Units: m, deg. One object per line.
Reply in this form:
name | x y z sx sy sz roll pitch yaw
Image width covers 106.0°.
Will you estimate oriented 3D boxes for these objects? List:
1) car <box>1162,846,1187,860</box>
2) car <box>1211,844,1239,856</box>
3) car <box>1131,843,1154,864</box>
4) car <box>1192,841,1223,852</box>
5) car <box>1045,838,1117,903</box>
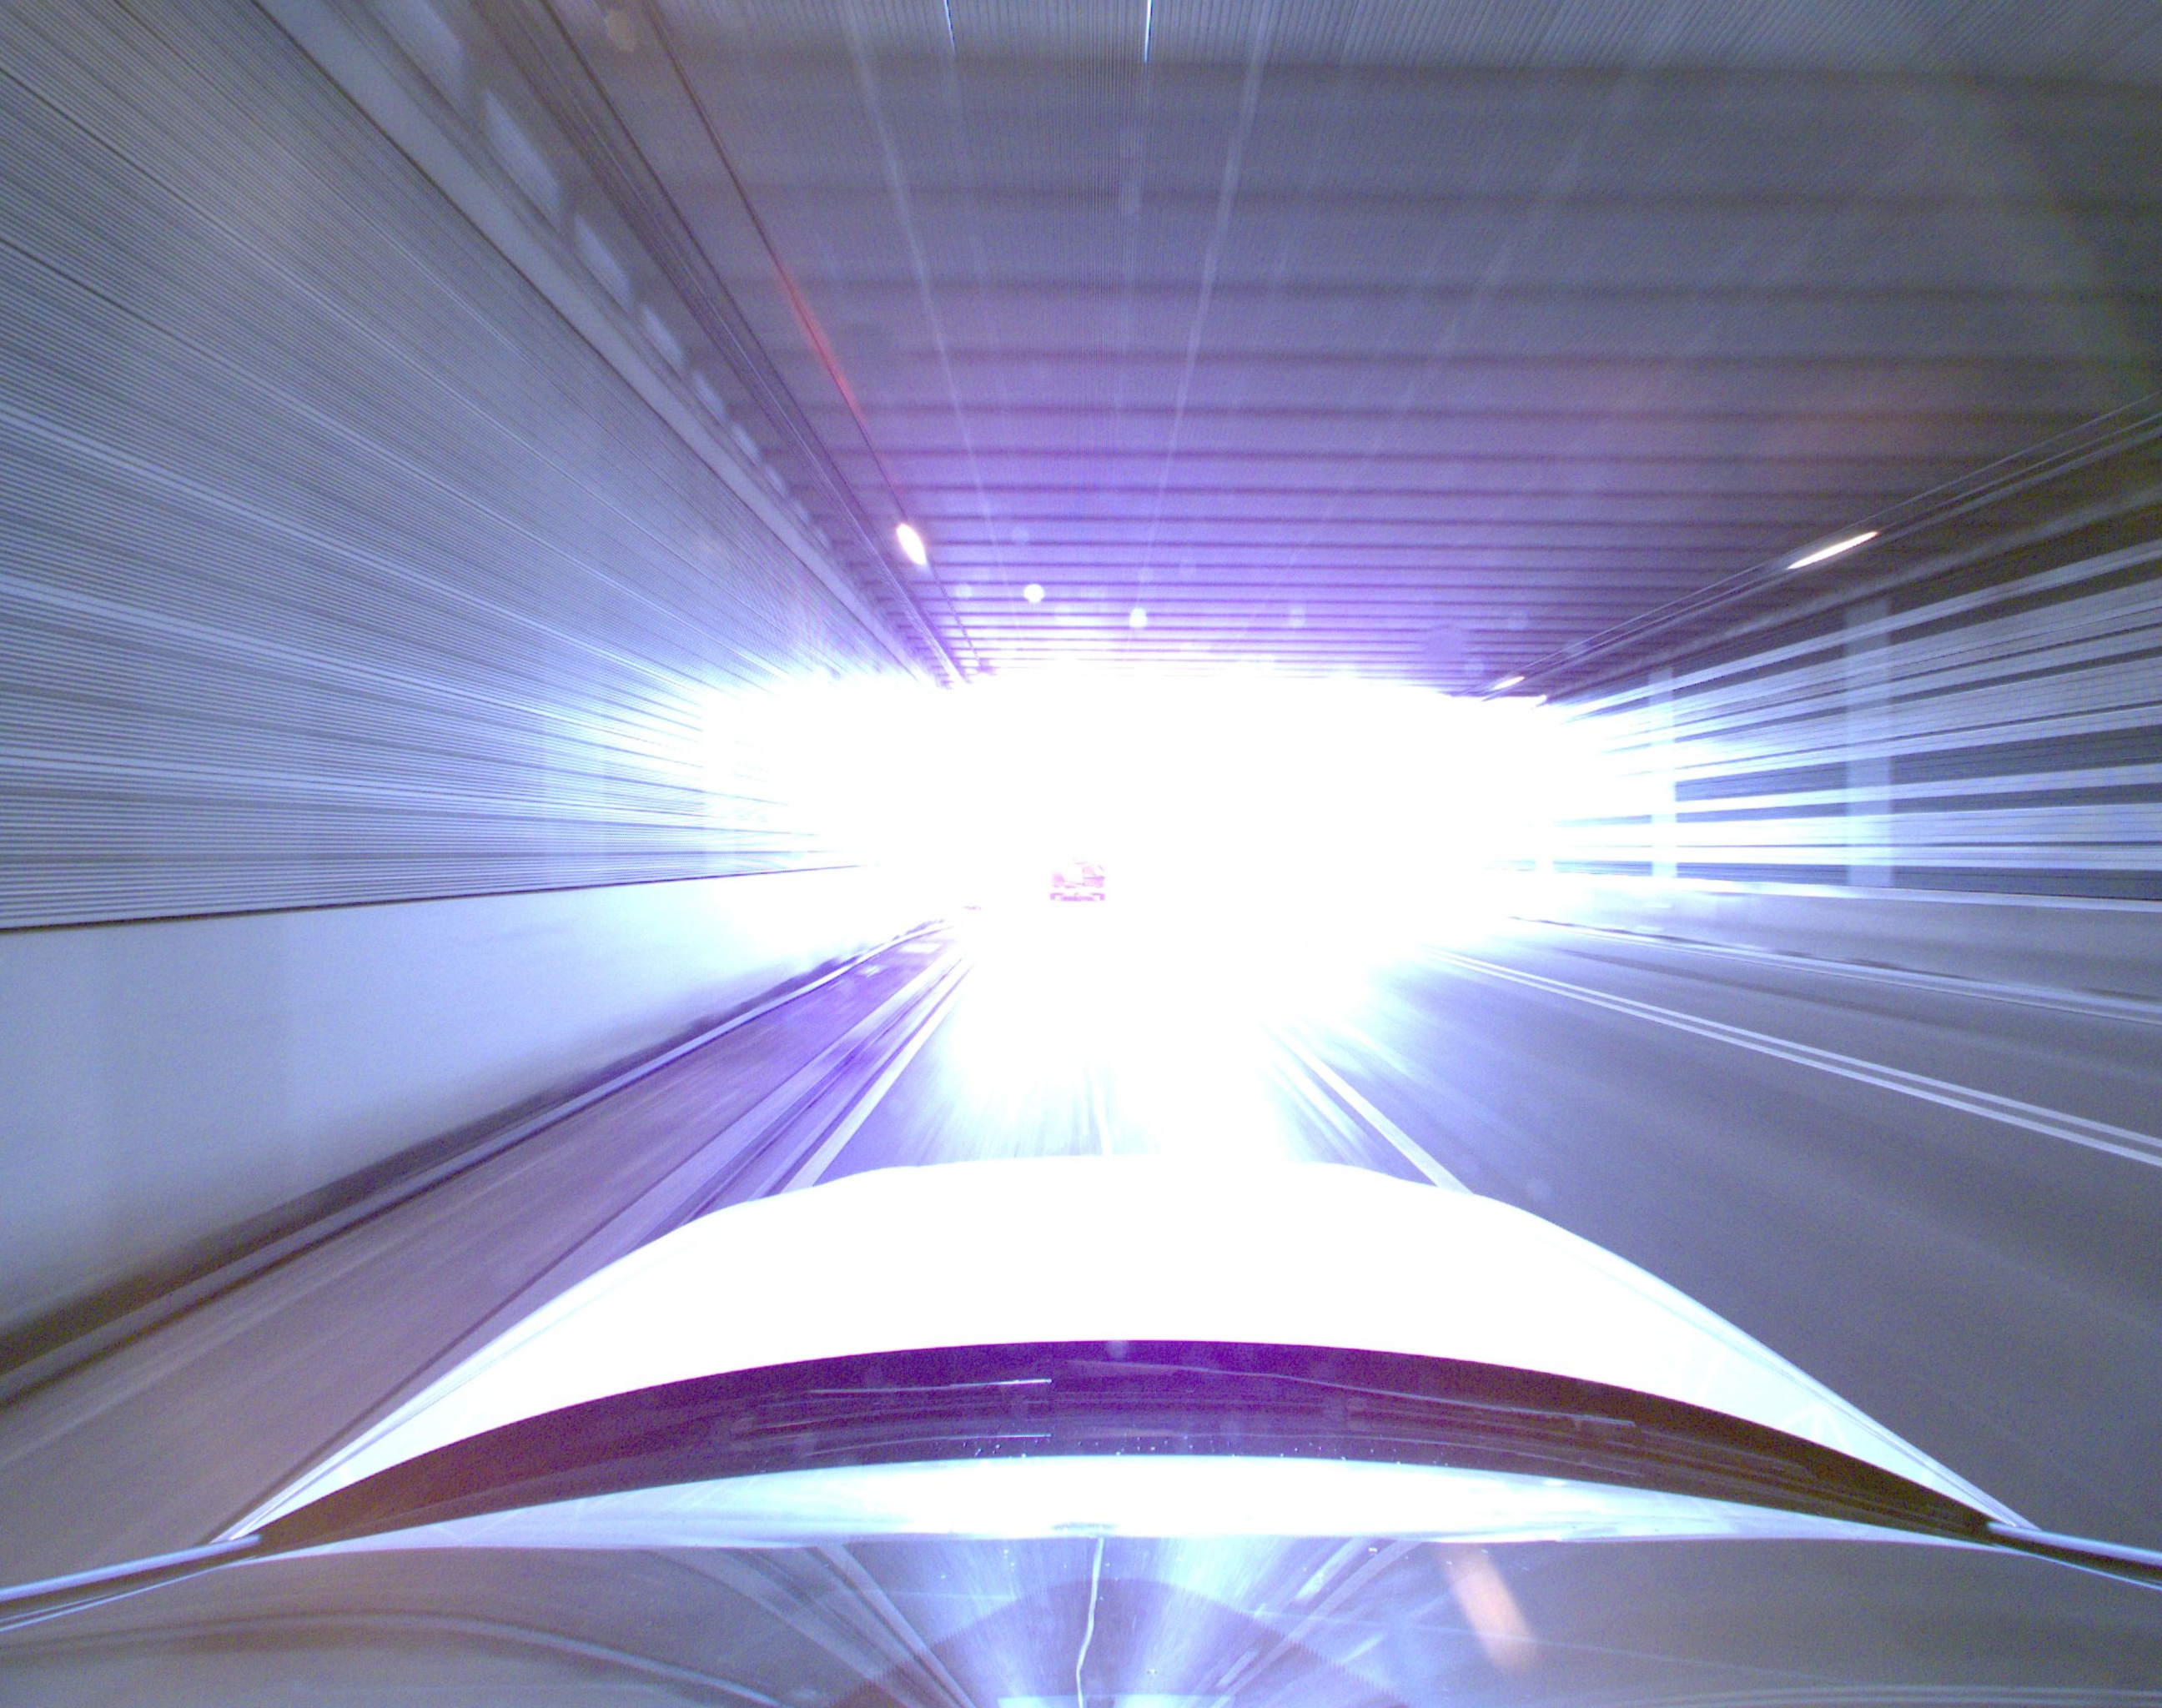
car | 10.488 -0.160 91.189 1.995 1.488 4.086 0 1 19
car | 18.751 -0.512 105.757 1.974 1.469 4.026 -2 0 36
car | 5.623 -0.045 74.426 1.984 1.859 4.006 0 0 5
car | 20.121 -1.172 129.140 5.303 1.750 1.933 -1 1 -42
car | -0.135 0.470 26.458 1.989 1.859 5.633 0 0 -4
